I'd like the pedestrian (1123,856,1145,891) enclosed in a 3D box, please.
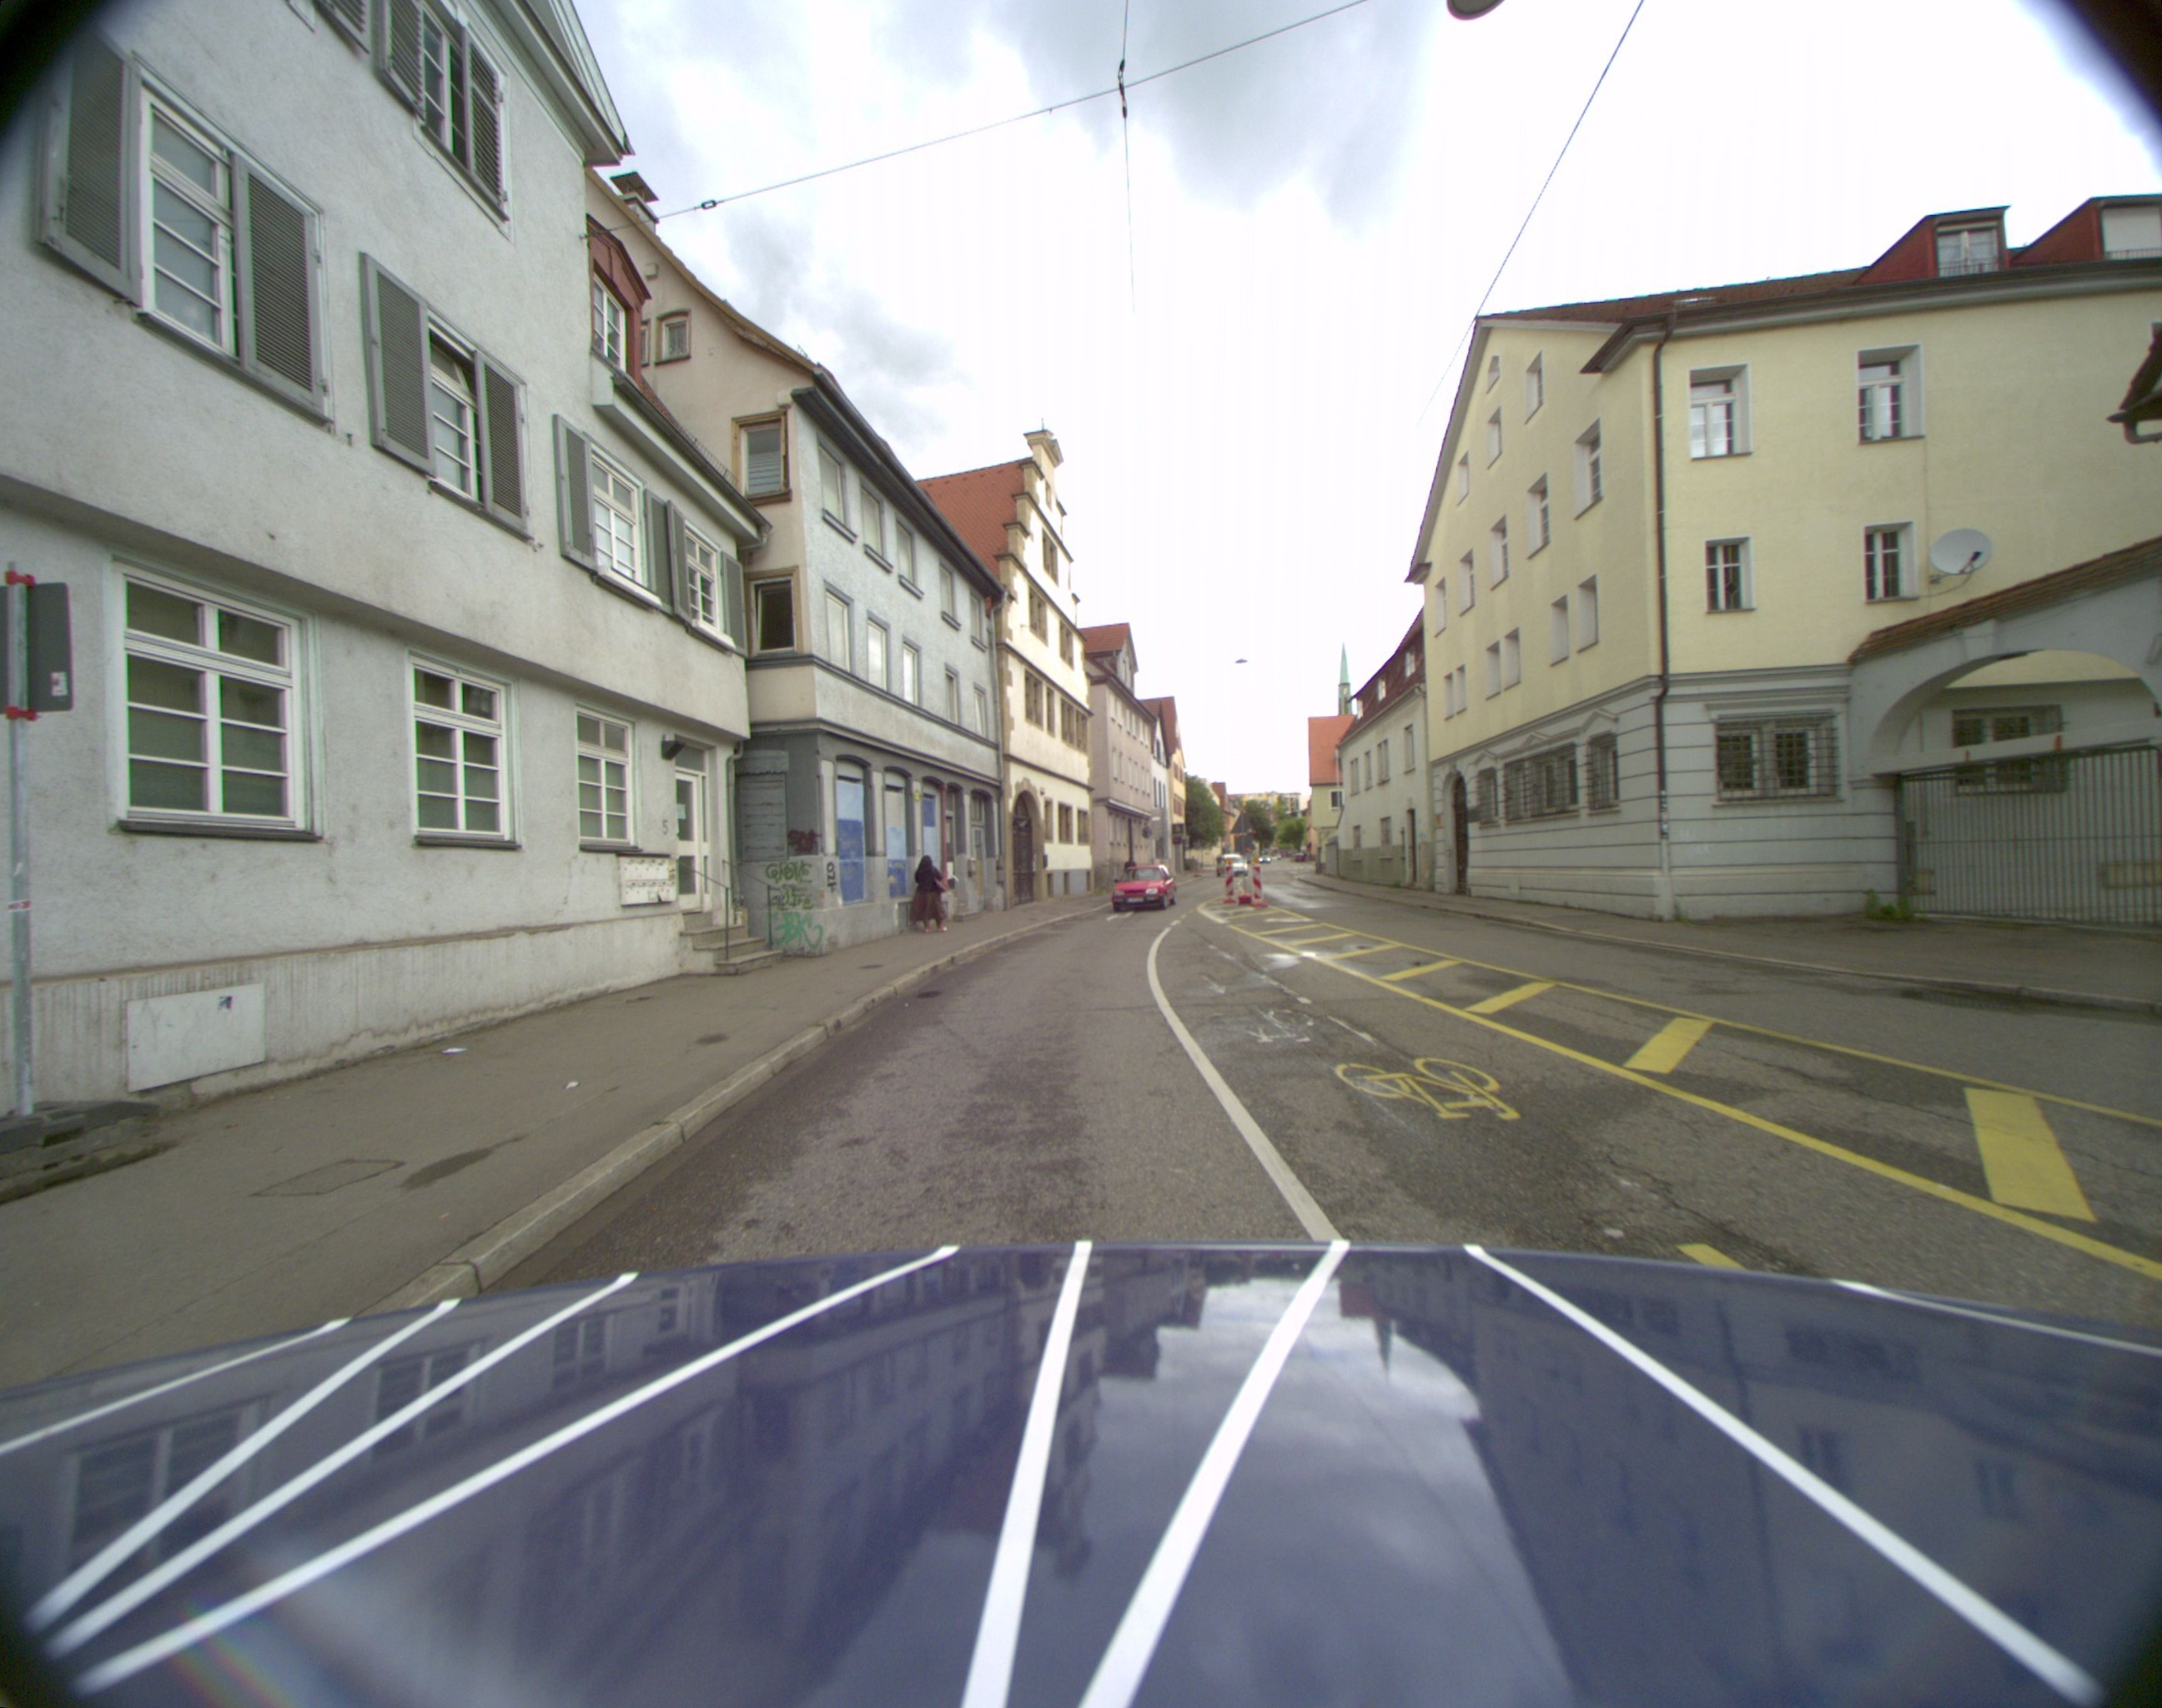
[{"bbox_3d":[2.595,0.954,37.073,0.833,1.646,0.945,-2,-1,15],"label":"pedestrian"}]

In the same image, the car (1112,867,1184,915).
[{"bbox_3d":[2.294,1.167,25.143,1.683,1.418,4.027,-2,-1,15],"label":"car"}]

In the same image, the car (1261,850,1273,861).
[{"bbox_3d":[33.100,0.260,135.083,1.996,1.668,4.004,-2,1,15],"label":"car"}]

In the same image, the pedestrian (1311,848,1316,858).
[{"bbox_3d":[45.867,-0.204,149.735,0.835,2.001,0.846,-2,0,13],"label":"pedestrian"}]

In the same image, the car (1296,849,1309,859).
[{"bbox_3d":[42.383,-0.015,145.328,2.210,1.668,4.503,-1,0,14],"label":"car"}]

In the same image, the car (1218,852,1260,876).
[{"bbox_3d":[12.823,0.775,62.059,2.000,1.777,4.463,-2,1,-7],"label":"car"}]

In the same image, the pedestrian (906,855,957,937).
[{"bbox_3d":[-3.137,0.864,16.037,0.756,1.657,0.810,1,0,13],"label":"pedestrian"}]
